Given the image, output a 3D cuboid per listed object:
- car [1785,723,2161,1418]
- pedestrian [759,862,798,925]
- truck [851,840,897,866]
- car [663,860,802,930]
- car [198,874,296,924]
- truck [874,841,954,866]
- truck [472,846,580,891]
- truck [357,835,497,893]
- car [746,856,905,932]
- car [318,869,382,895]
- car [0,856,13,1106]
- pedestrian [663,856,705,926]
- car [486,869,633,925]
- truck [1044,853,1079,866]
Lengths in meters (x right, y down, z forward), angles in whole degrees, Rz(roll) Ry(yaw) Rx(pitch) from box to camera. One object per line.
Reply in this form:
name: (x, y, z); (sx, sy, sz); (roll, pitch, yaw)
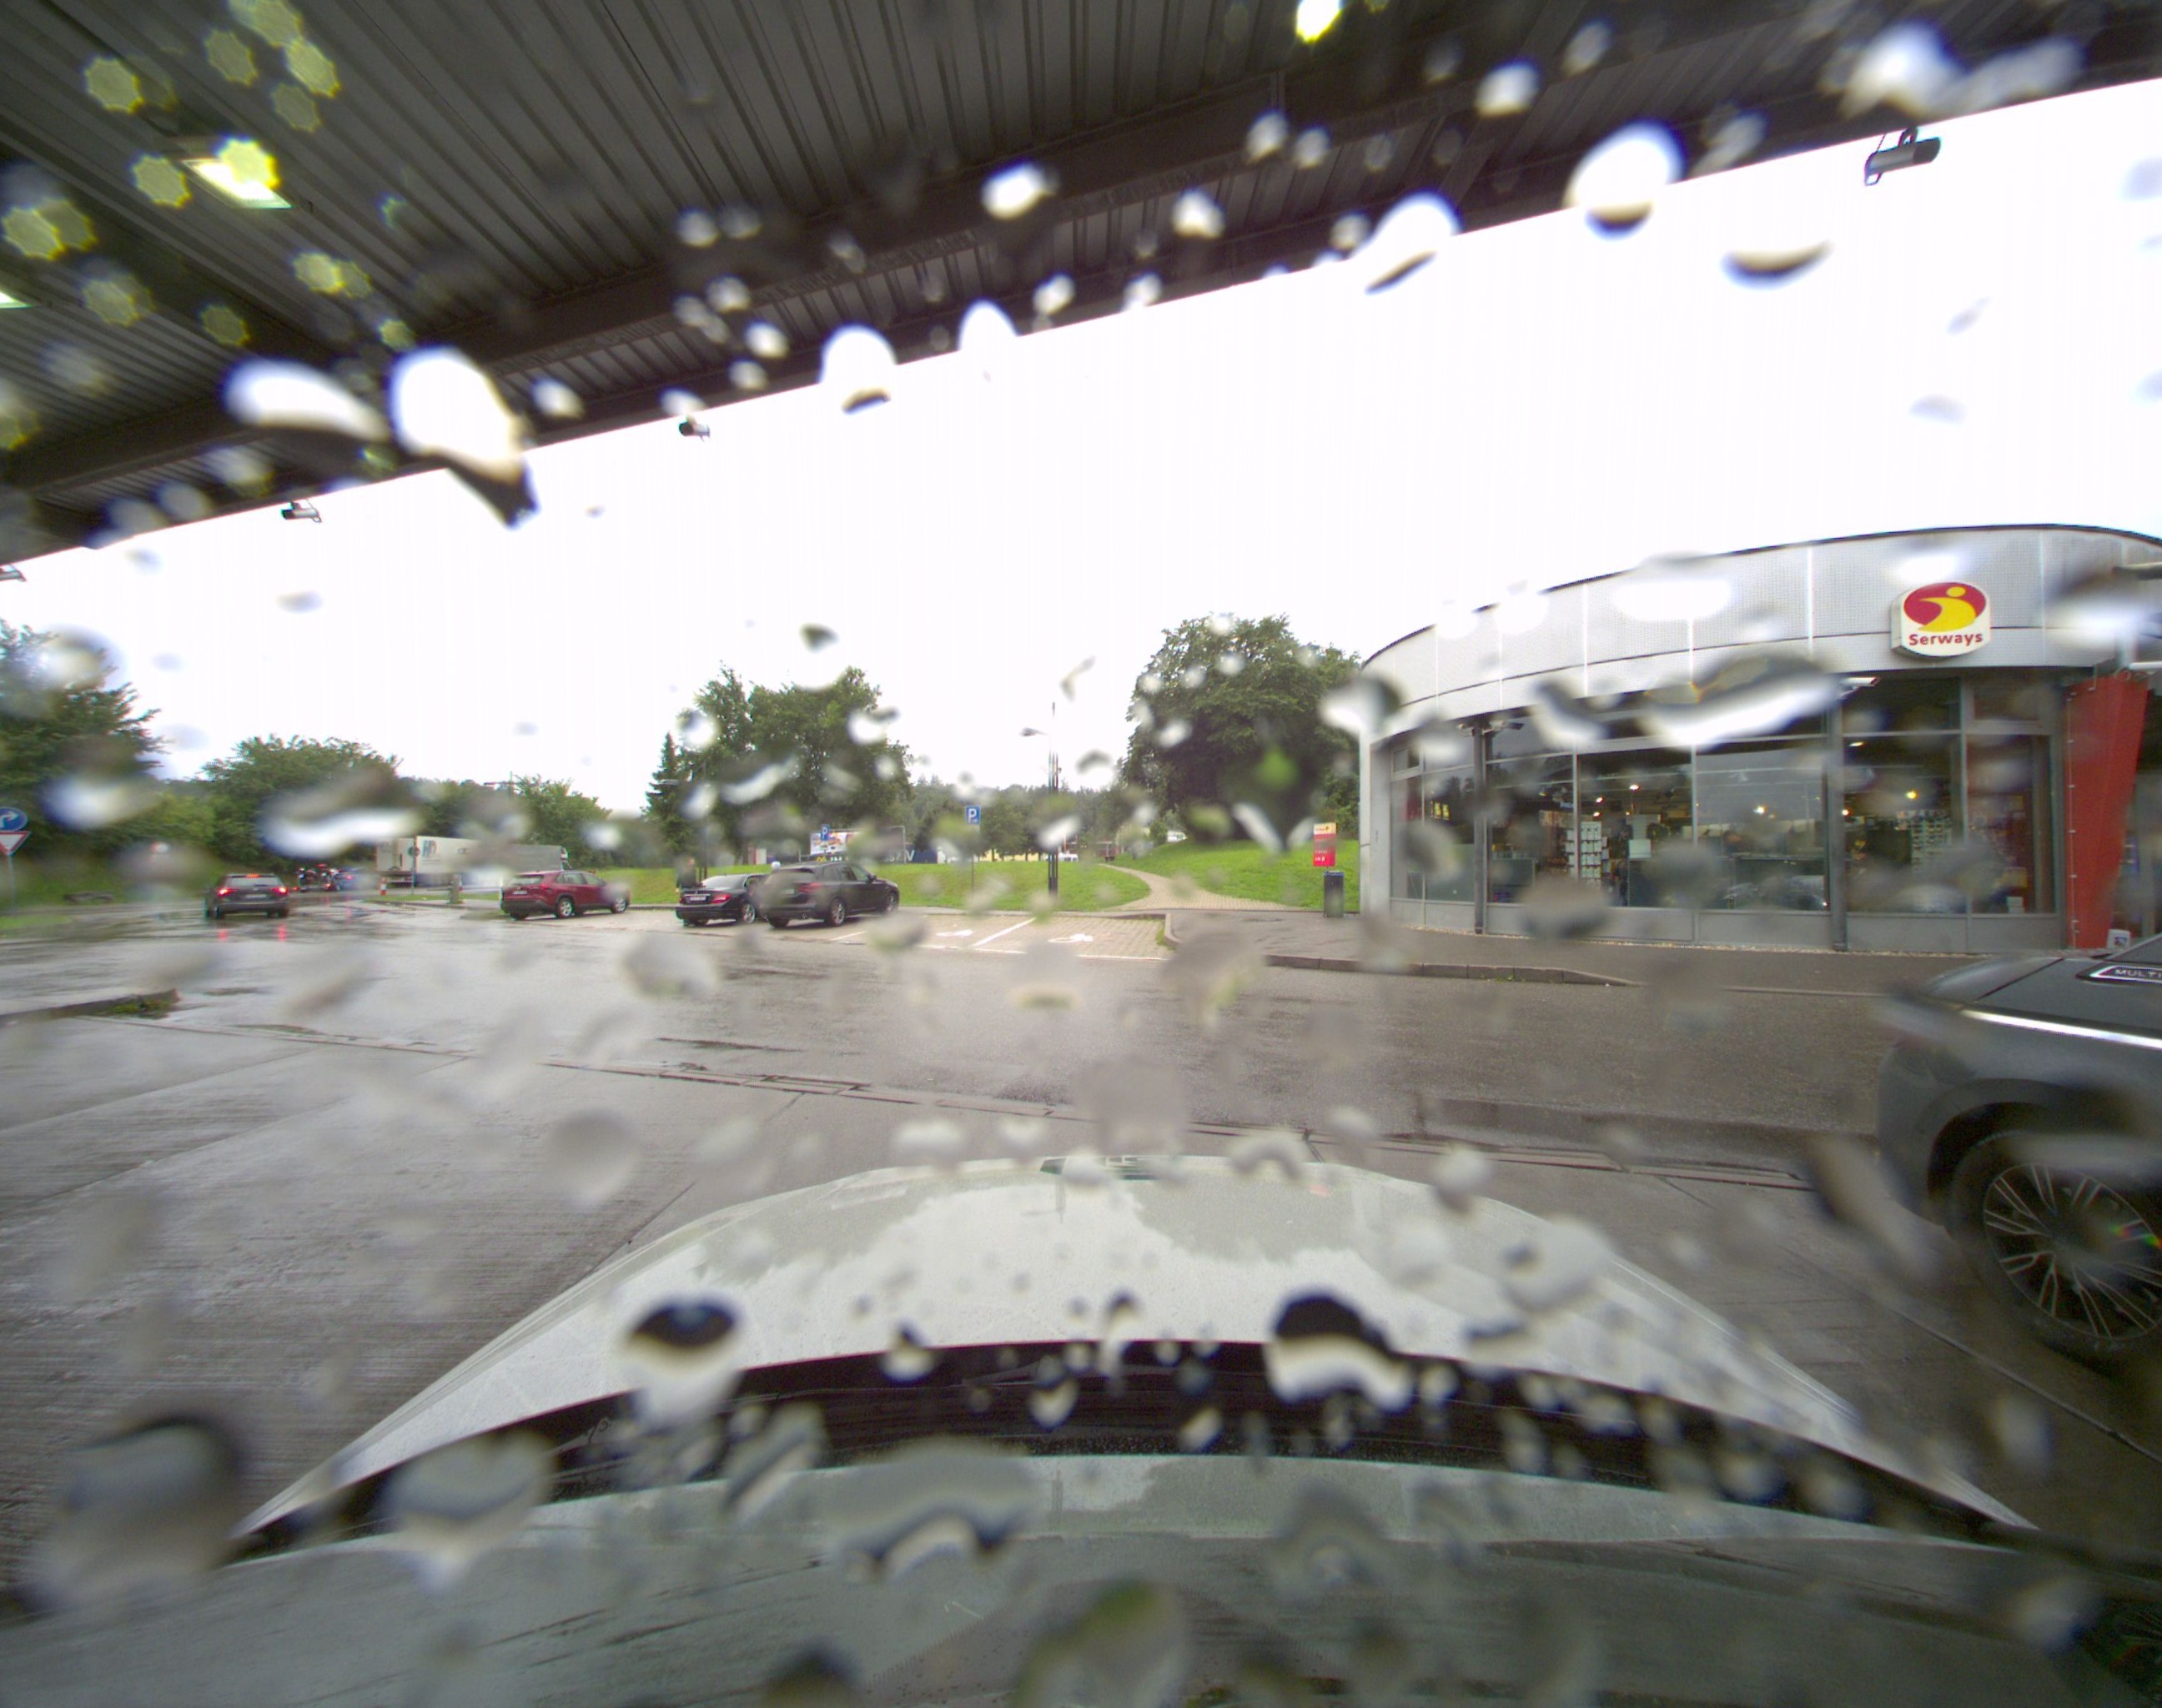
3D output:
car: (3.674, 0.543, 0.673); (1.854, 1.798, 5.142); (0, -1, 2)
pedestrian: (-8.032, 1.020, 21.614); (0.955, 1.631, 0.699); (0, -1, -23)
truck: (-24.178, -0.086, 95.453); (2.165, 2.920, 5.419); (-1, -1, 27)
car: (-9.833, 1.083, 23.421); (2.010, 1.711, 4.344); (-2, 0, 1)
car: (-30.733, 1.616, 29.994); (3.948, 1.678, 2.013); (-2, -1, 37)
truck: (-20.745, -0.055, 102.344); (2.165, 2.920, 13.175); (-1, -1, 26)
truck: (-40.328, 1.023, 59.535); (2.466, 3.085, 7.364); (0, -1, 4)
truck: (-55.439, 0.845, 69.977); (3.550, 4.340, 16.899); (0, -1, -18)
car: (-6.647, 0.971, 21.777); (2.002, 1.711, 4.360); (-2, 0, 14)
car: (-50.339, 1.885, 56.173); (1.814, 1.681, 3.927); (0, -1, -18)
car: (-7.968, 0.804, 2.673); (1.854, 1.608, 5.273); (0, -1, 2)
pedestrian: (-10.953, 1.010, 22.457); (0.882, 1.887, 0.708); (-1, -1, 37)
car: (-18.135, 1.443, 28.590); (1.928, 1.644, 4.352); (-2, 0, 7)
truck: (-3.237, 0.875, 134.101); (5.356, 2.014, 2.381); (-1, -1, 26)
